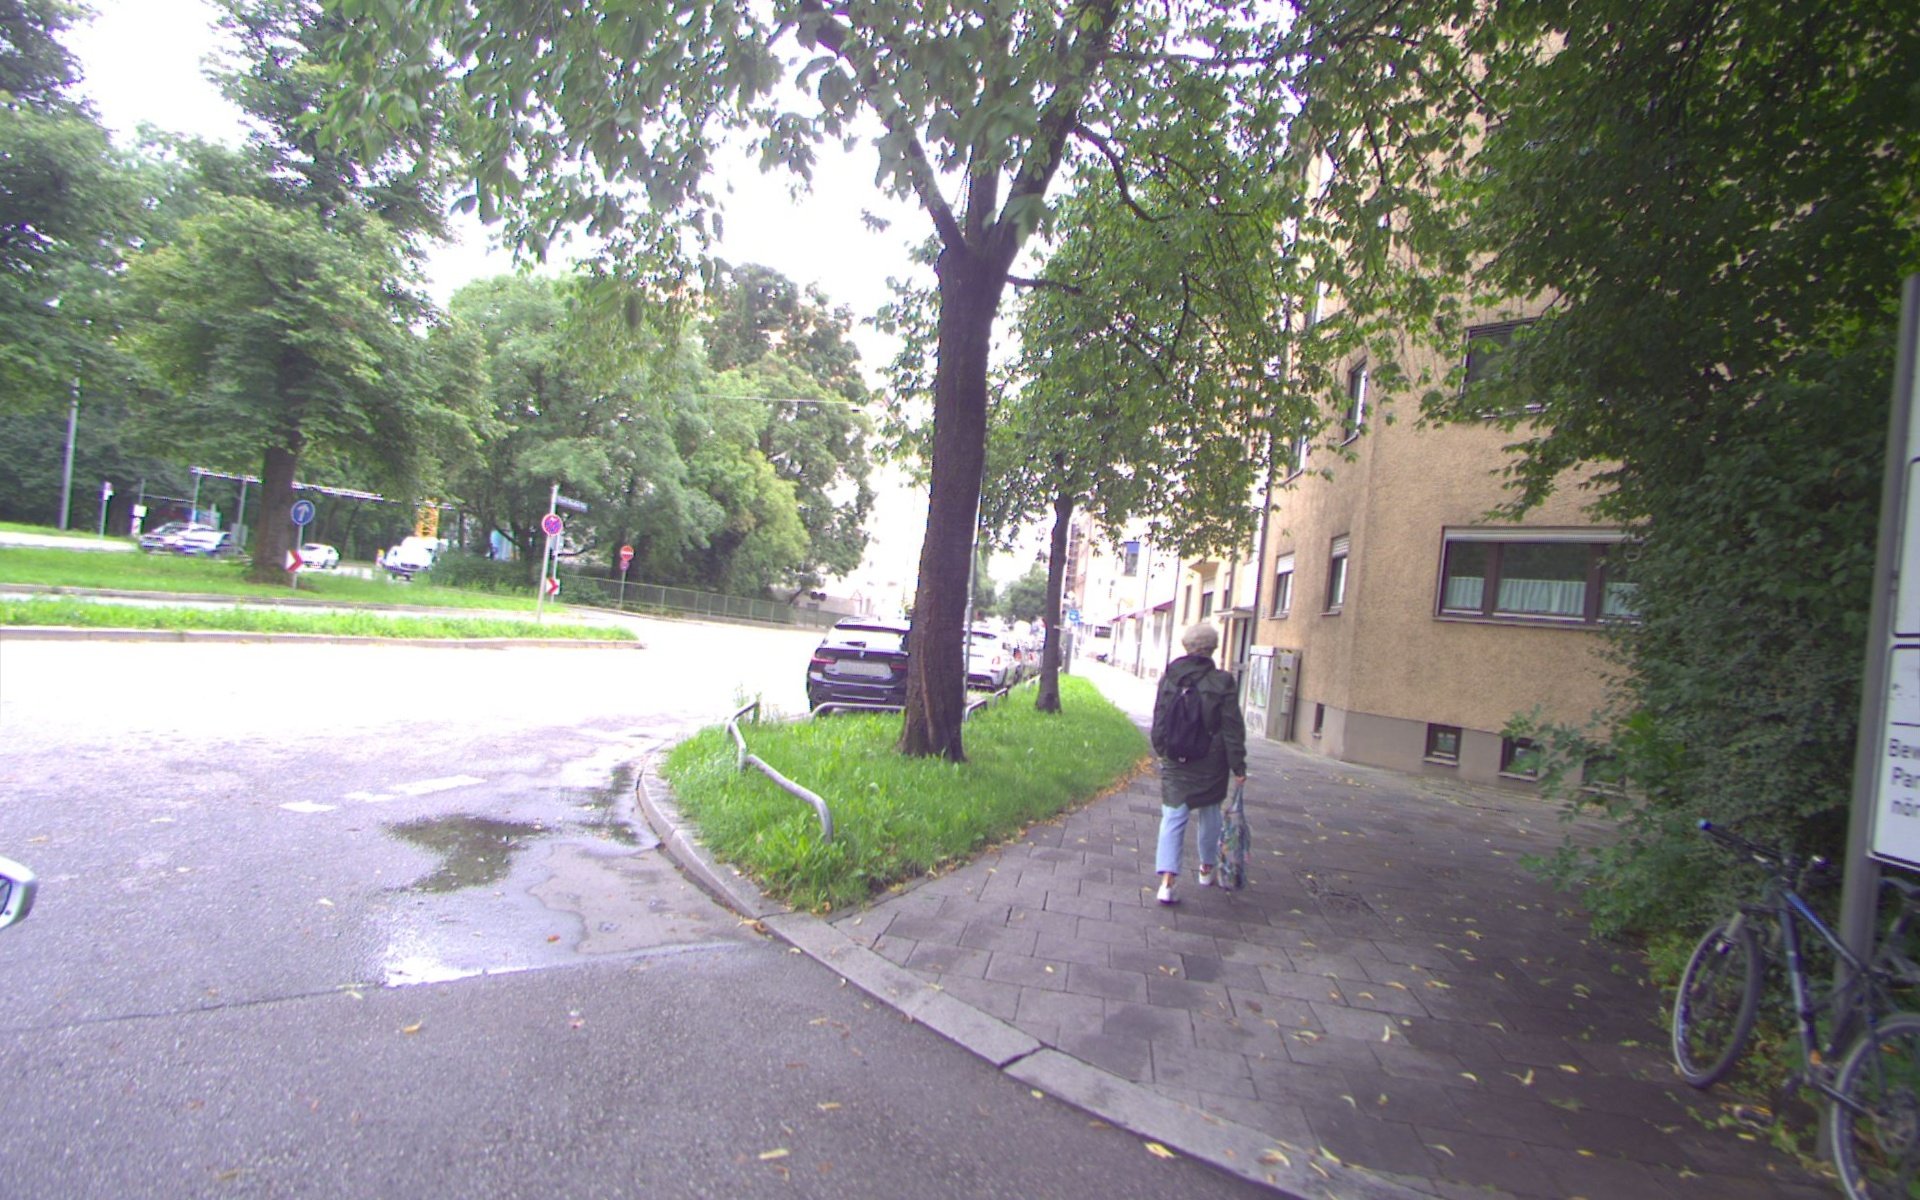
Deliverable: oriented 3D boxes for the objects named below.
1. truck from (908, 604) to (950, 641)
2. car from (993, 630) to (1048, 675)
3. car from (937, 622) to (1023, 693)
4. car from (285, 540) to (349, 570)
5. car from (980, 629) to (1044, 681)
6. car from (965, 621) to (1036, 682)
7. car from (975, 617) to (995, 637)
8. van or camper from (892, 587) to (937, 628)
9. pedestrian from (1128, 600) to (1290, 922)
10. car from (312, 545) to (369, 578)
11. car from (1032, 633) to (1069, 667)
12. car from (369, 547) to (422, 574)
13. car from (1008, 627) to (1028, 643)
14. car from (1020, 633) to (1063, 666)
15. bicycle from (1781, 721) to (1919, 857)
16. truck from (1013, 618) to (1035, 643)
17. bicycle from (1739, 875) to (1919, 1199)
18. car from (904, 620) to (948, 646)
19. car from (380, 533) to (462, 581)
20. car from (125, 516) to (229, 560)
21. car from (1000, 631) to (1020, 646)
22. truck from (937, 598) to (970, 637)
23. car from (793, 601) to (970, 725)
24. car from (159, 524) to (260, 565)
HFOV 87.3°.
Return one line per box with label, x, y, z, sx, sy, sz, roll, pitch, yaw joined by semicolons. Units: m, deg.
truck;-2.750;2.019;91.888;2.729;2.908;7.204;6;0;5
car;2.481;2.076;40.263;1.728;1.514;4.491;5;-2;8
car;0.584;1.407;25.211;1.602;1.514;3.824;5;-1;8
car;-39.649;-2.743;62.161;1.803;1.464;4.229;6;-1;-11
car;1.850;1.841;34.506;1.663;1.514;4.438;5;-2;8
car;1.255;1.501;29.681;1.602;1.514;3.790;5;-1;8
car;2.865;3.145;115.459;1.962;2.038;4.002;6;-1;4
van or camper;-3.614;0.651;81.581;2.559;2.875;6.187;6;0;5
pedestrian;1.412;0.880;5.873;0.660;1.643;0.981;6;-1;9
car;-43.158;-2.628;70.177;1.720;1.896;3.997;6;-1;-6
car;5.137;2.806;56.808;1.728;1.699;4.711;5;-2;8
car;-39.052;-2.690;69.653;1.866;1.464;4.291;6;-1;-12
car;6.244;3.732;108.226;1.959;1.447;4.141;7;0;5
car;4.265;2.555;52.014;1.728;1.514;3.826;5;-1;11
bicycle;10.200;2.053;10.569;2.385;1.232;0.704;6;0;4
truck;8.510;4.048;134.165;2.453;3.009;5.331;7;-1;4
bicycle;2.738;1.382;2.940;0.245;0.891;1.080;6;-1;14
car;-2.213;2.175;67.027;1.958;1.447;4.908;7;0;8
car;-32.298;-2.539;60.475;2.267;2.297;5.127;6;-1;-4
car;-41.332;-3.243;53.241;1.964;1.739;4.647;6;-1;-4
car;5.872;4.499;117.858;1.959;1.447;4.141;7;0;5
truck;-0.710;2.015;115.038;2.965;3.999;6.999;7;-1;3
car;-1.025;0.915;15.412;1.763;1.515;4.380;4;-2;7
car;-35.677;-2.602;47.973;1.863;1.464;4.031;6;-1;-4
